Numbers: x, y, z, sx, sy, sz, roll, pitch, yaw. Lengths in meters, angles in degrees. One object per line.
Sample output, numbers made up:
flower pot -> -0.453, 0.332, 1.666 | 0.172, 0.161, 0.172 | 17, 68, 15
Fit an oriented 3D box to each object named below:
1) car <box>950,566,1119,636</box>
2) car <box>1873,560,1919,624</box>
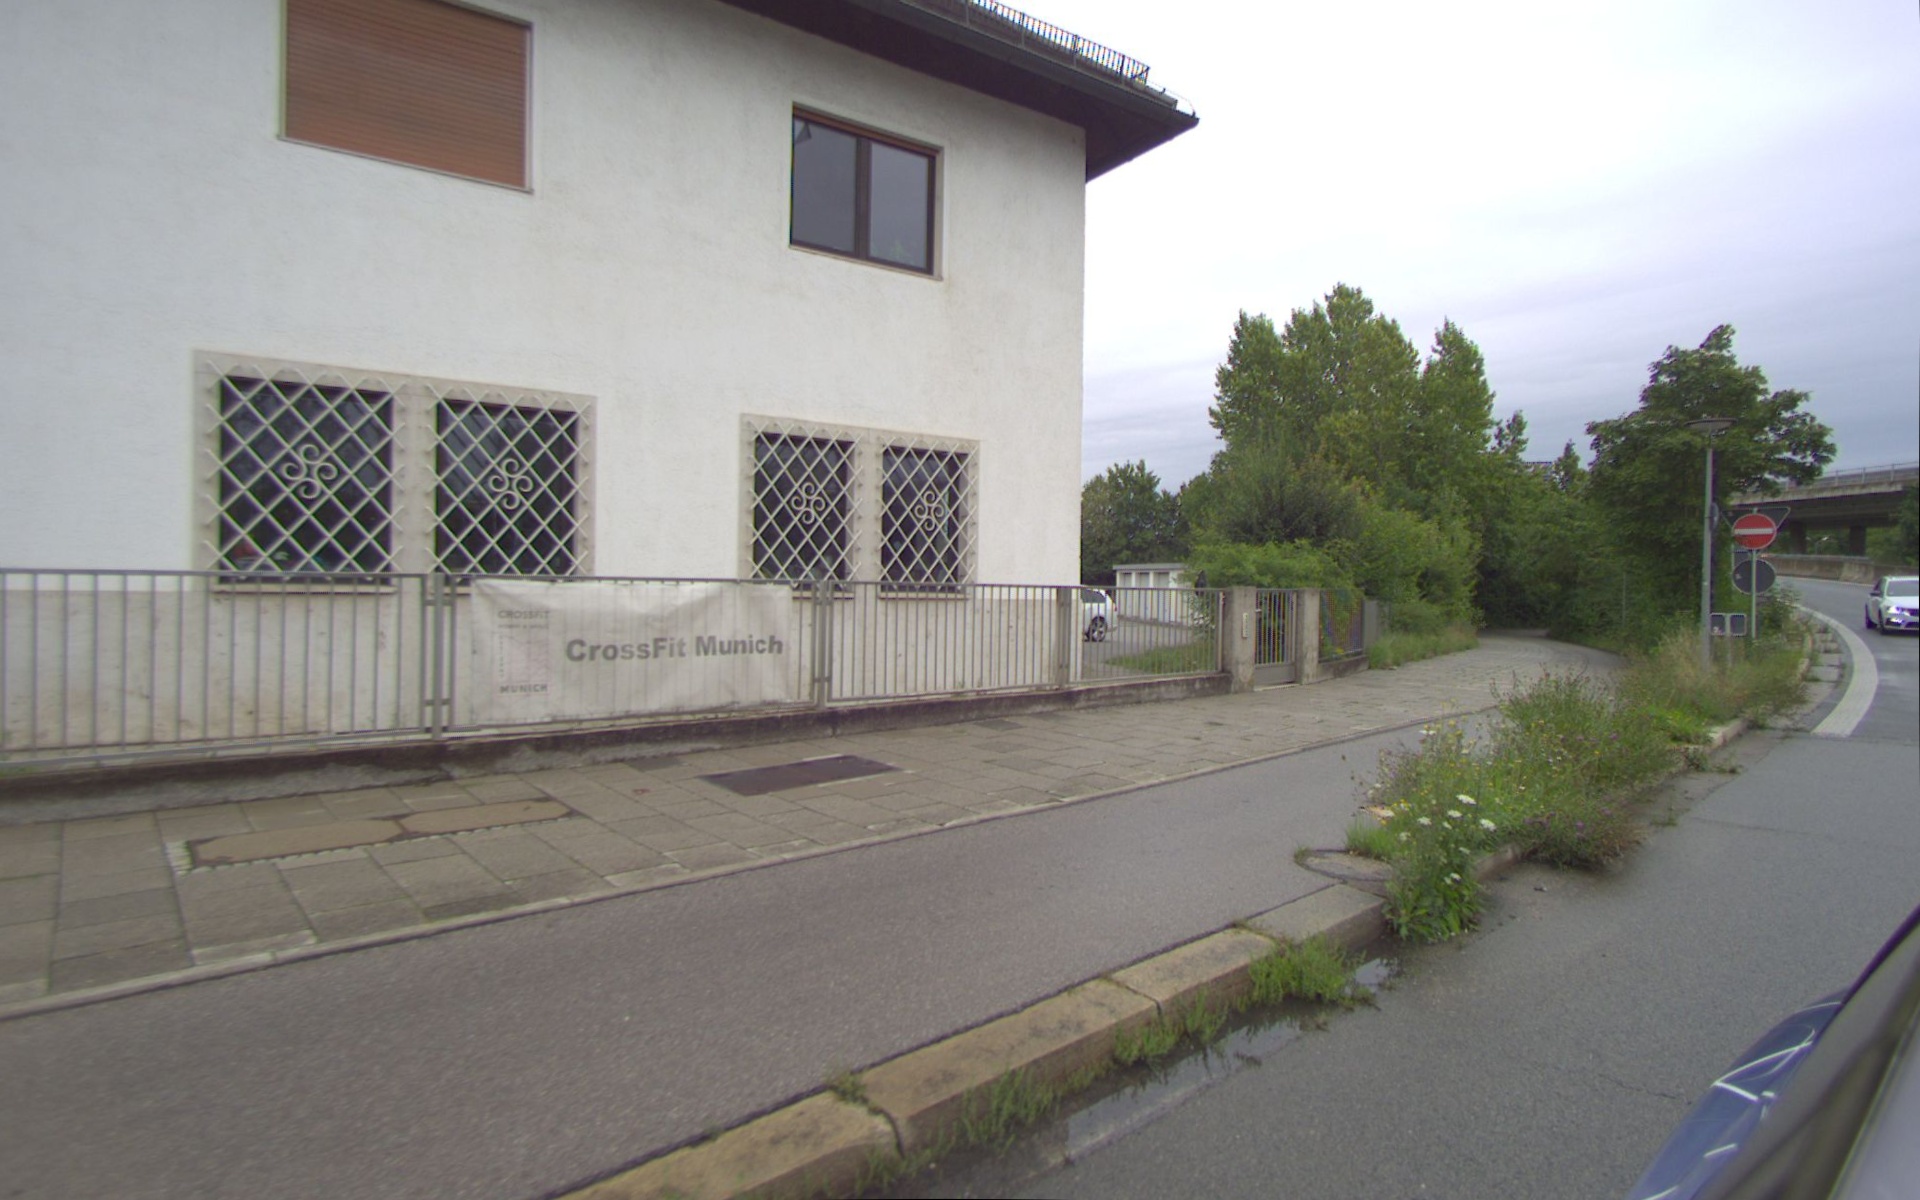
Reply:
car -> 2.011, 0.044, 26.770 | 4.169, 1.549, 1.879 | 4, 0, -36
car -> 25.137, -0.263, 26.099 | 1.905, 1.465, 4.498 | 0, 3, 36
